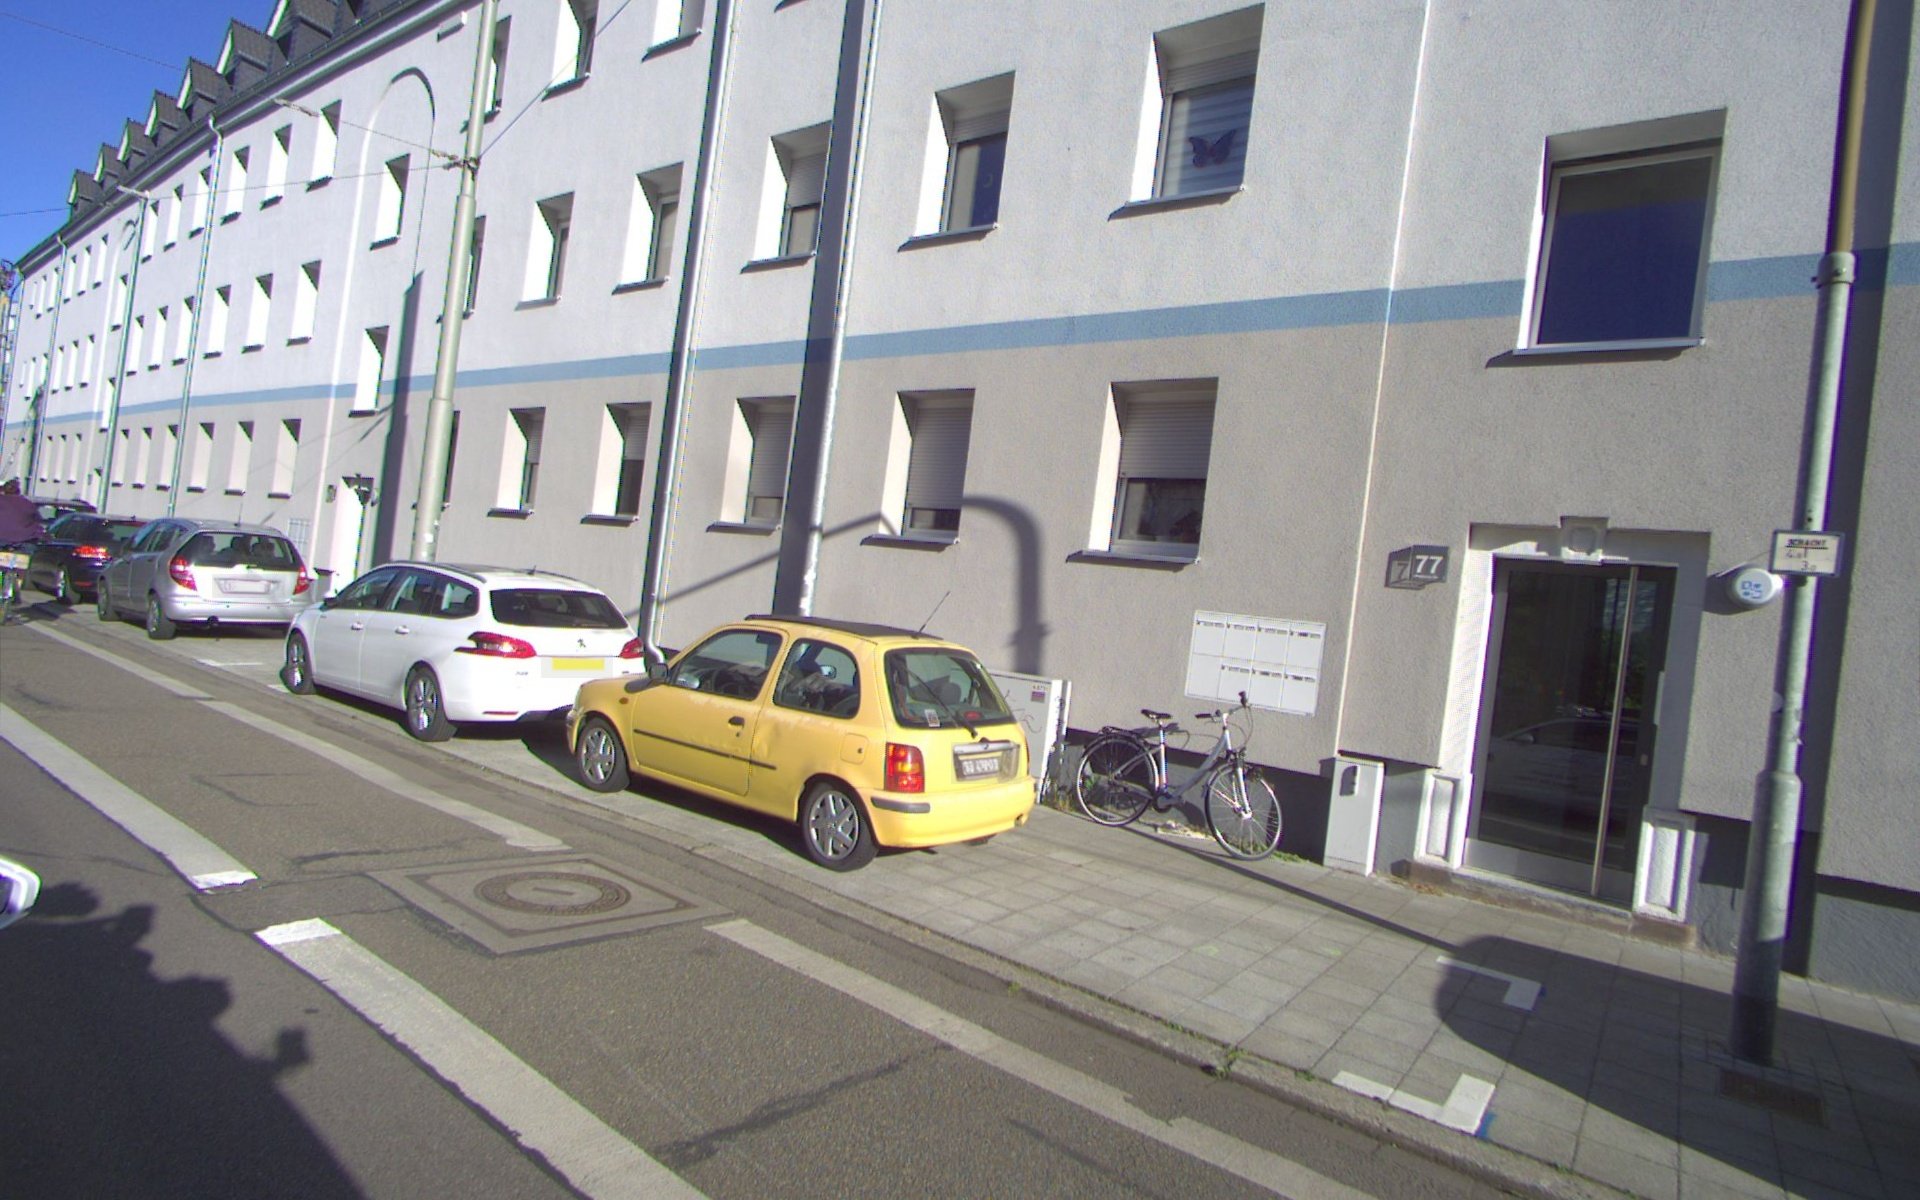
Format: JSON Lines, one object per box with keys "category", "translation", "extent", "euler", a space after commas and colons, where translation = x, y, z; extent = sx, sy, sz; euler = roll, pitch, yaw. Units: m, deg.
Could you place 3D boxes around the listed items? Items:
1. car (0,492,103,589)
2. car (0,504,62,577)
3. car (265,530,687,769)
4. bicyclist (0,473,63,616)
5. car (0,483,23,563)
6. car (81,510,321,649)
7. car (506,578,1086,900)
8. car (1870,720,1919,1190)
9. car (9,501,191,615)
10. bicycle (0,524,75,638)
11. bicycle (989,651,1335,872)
{"category": "car", "translation": [-18.982, -1.274, 20.401], "extent": [3.845, 1.692, 1.658], "euler": [7, 2, 38]}
{"category": "car", "translation": [-22.694, -1.517, 23.507], "extent": [3.722, 1.501, 1.796], "euler": [7, -1, 38]}
{"category": "car", "translation": [-4.770, 0.343, 9.621], "extent": [4.440, 1.590, 1.679], "euler": [7, 0, 37]}
{"category": "bicyclist", "translation": [-12.104, -0.735, 12.633], "extent": [0.954, 1.696, 0.935], "euler": [7, -1, 36]}
{"category": "car", "translation": [-26.332, -2.202, 26.442], "extent": [4.092, 1.995, 1.785], "euler": [7, 1, 38]}
{"category": "car", "translation": [-10.860, -0.323, 14.309], "extent": [3.846, 1.592, 1.752], "euler": [7, 2, 38]}
{"category": "car", "translation": [-1.346, 0.771, 7.160], "extent": [4.137, 1.448, 1.513], "euler": [5, -1, 36]}
{"category": "car", "translation": [5.291, 1.435, 2.181], "extent": [4.552, 1.686, 1.755], "euler": [7, 1, 34]}
{"category": "car", "translation": [-14.770, -0.745, 17.213], "extent": [3.948, 1.557, 1.590], "euler": [7, 1, 39]}
{"category": "bicycle", "translation": [-12.239, -0.335, 12.773], "extent": [2.424, 1.249, 0.823], "euler": [7, -5, 36]}
{"category": "bicycle", "translation": [1.538, 1.168, 7.856], "extent": [2.291, 1.211, 1.096], "euler": [7, -1, 35]}
